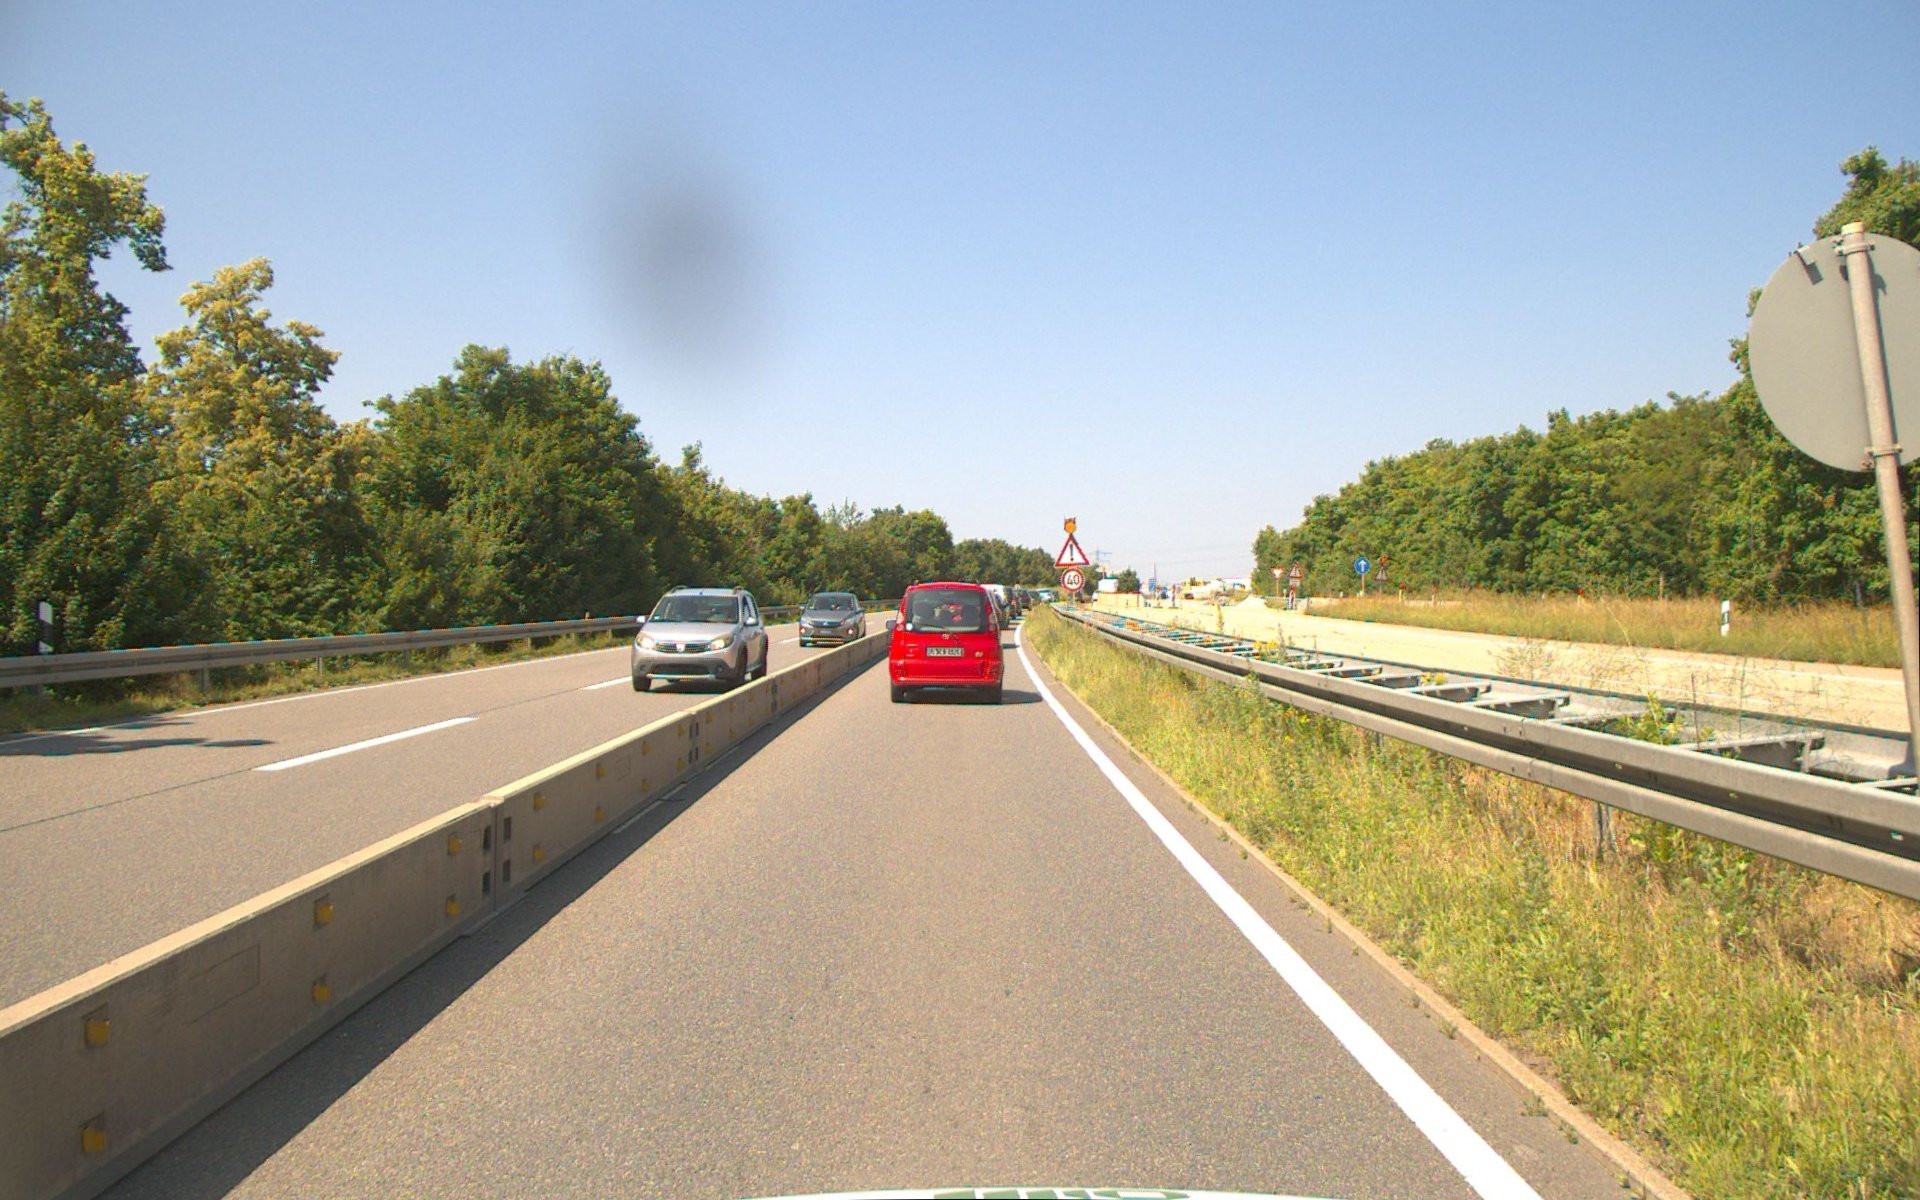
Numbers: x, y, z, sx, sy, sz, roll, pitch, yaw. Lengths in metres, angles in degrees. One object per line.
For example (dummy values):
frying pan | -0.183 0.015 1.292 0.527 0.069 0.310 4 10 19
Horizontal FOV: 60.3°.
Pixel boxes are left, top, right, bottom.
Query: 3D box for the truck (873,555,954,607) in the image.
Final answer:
truck | -5.007 -2.068 179.039 8.439 5.469 3.391 -1 0 4

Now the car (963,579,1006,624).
car | 1.141 0.057 78.361 1.953 2.038 4.000 1 0 0

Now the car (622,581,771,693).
car | -4.131 0.553 26.474 1.791 1.658 3.784 0 0 0

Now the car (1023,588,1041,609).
car | 5.937 -0.118 136.588 1.470 1.767 3.171 1 0 3

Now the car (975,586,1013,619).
car | 1.836 0.124 90.126 1.953 1.780 4.000 0 0 -1

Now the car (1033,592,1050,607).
car | 7.448 -0.053 151.269 1.391 1.321 2.881 -1 0 5

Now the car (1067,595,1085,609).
car | 13.369 0.256 191.042 1.952 1.579 4.001 0 0 3

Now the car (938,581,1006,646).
car | 0.299 0.364 47.590 1.793 1.752 3.998 -1 0 -2

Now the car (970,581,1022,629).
car | 1.423 0.192 67.174 1.953 1.870 3.999 -1 0 -1

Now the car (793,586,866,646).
car | -3.676 0.440 47.300 1.909 1.606 4.433 0 0 -2

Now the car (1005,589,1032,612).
car | 4.287 0.027 121.681 1.952 1.613 4.001 0 0 1

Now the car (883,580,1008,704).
car | -0.253 0.570 24.718 1.716 1.702 3.999 0 0 -2

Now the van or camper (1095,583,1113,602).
van or camper | 20.584 -1.052 236.698 2.280 2.754 4.593 -1 0 1
